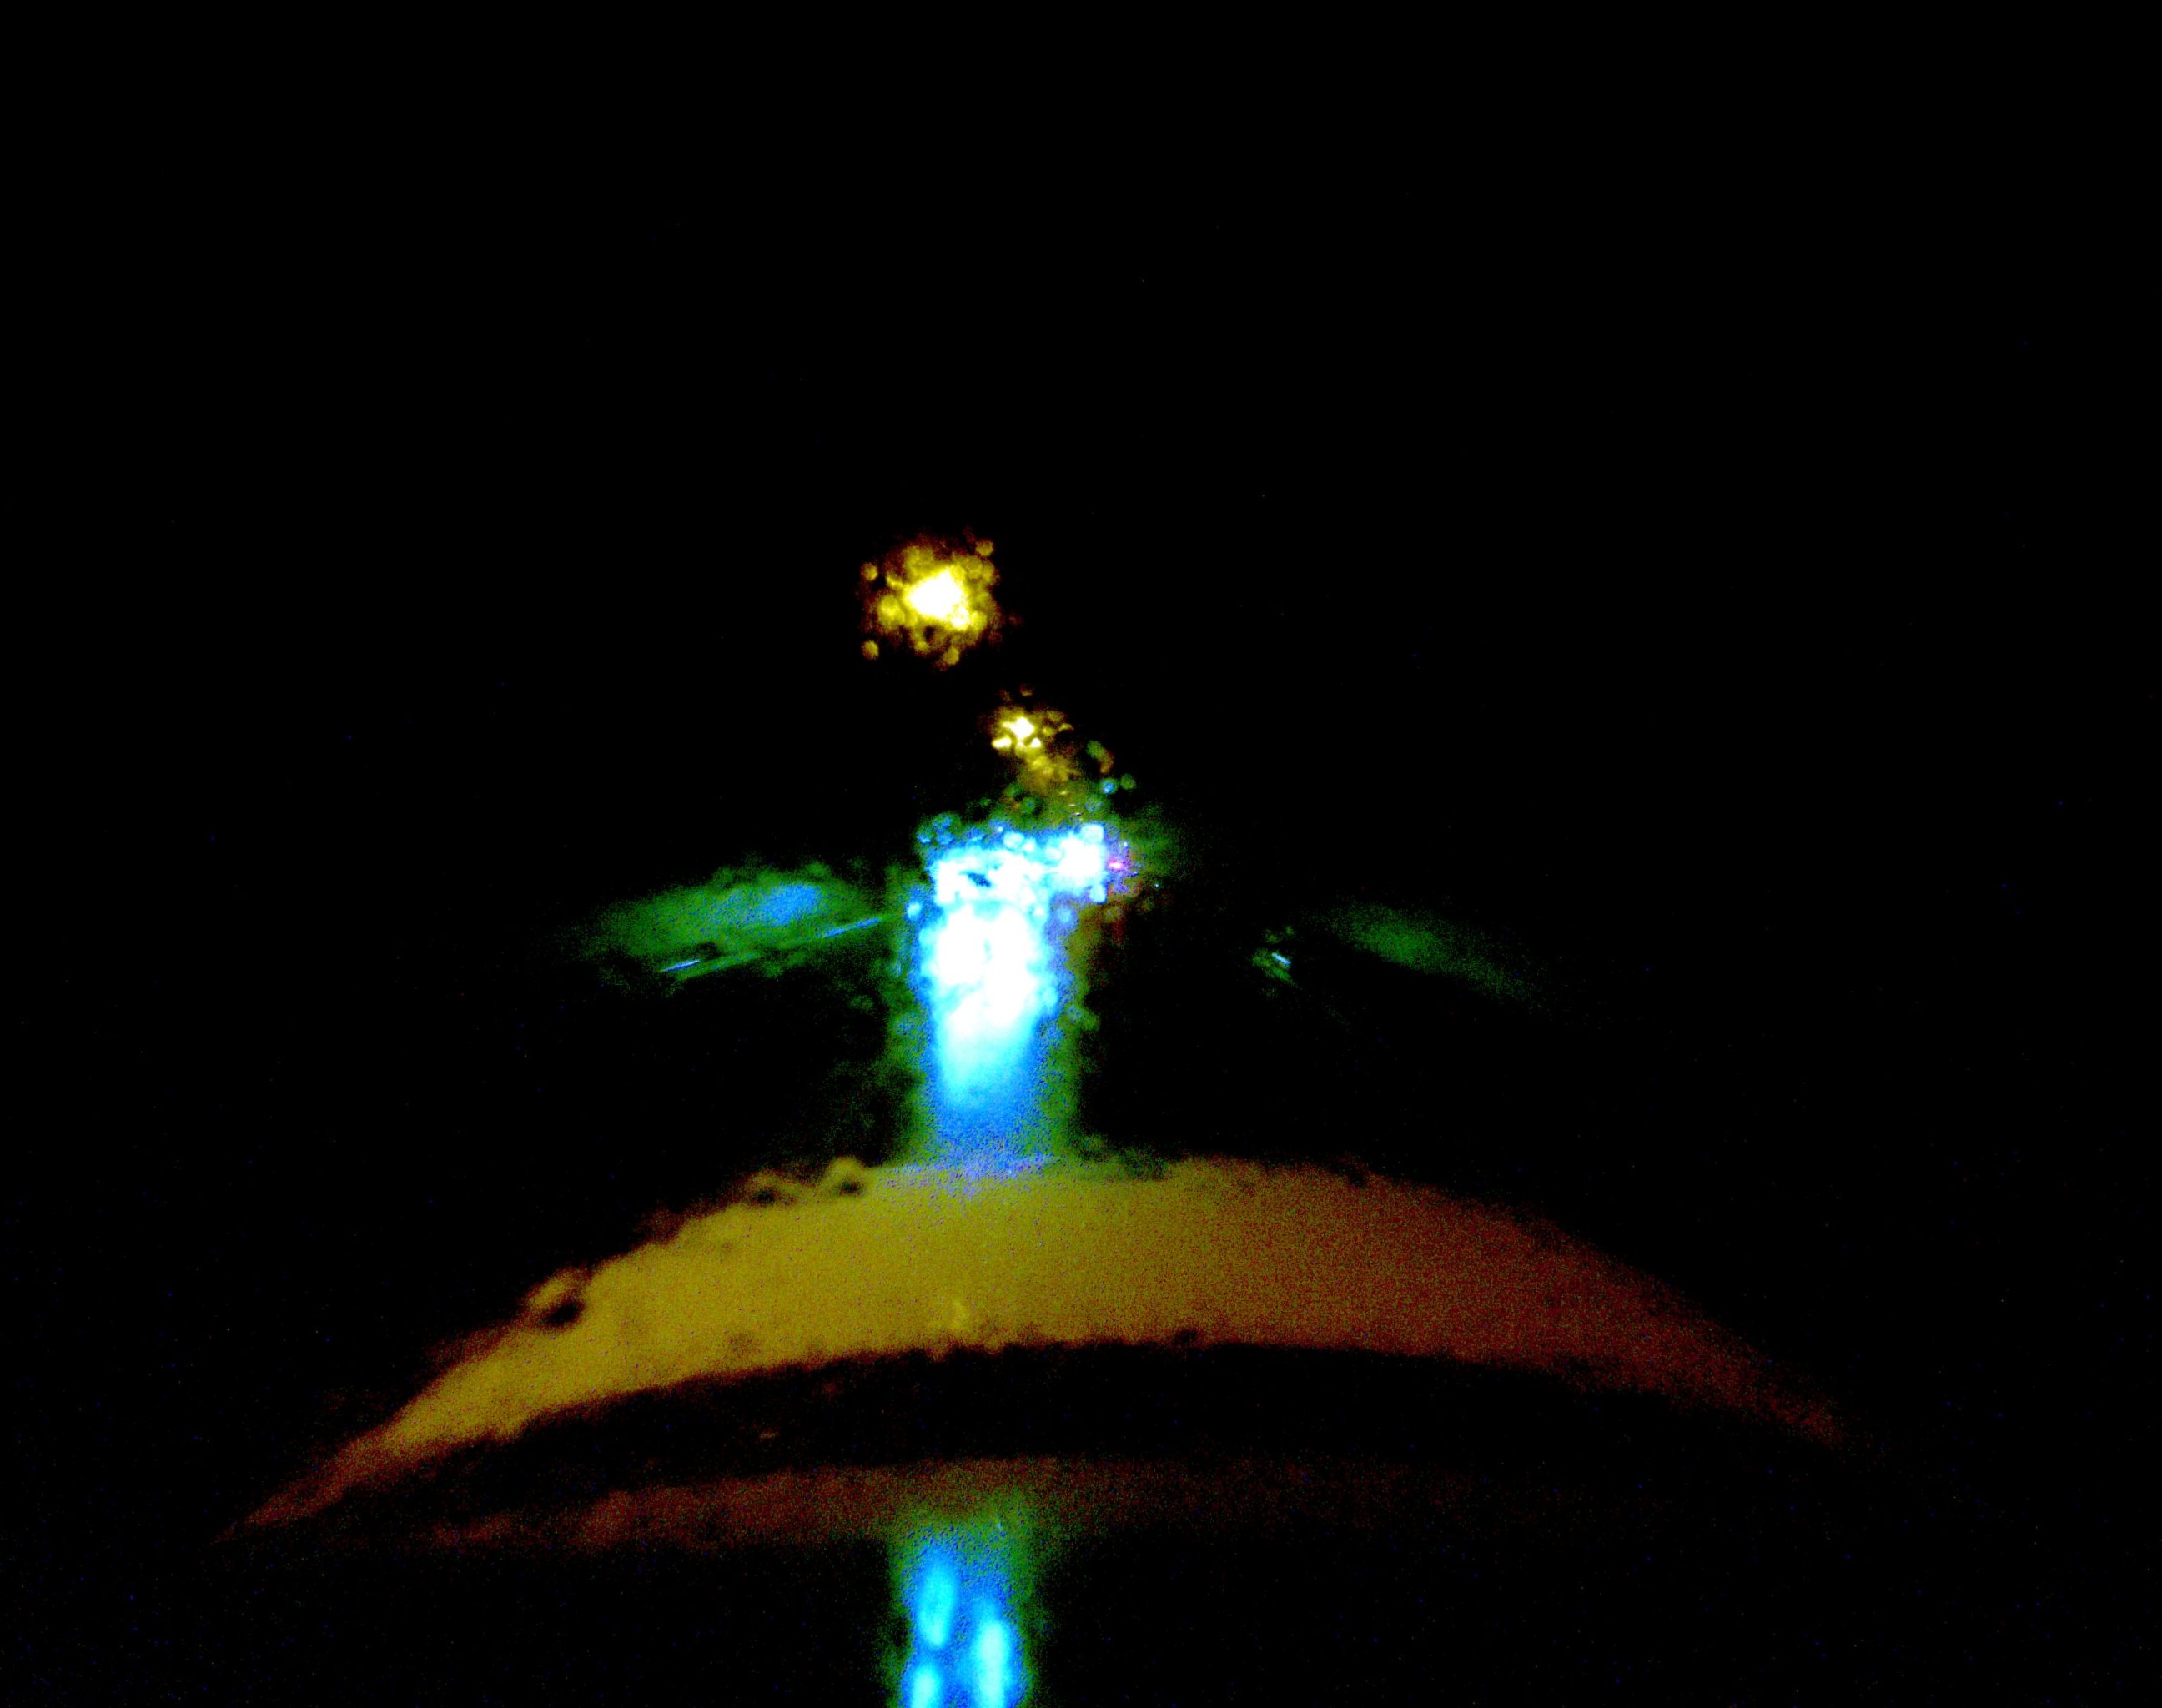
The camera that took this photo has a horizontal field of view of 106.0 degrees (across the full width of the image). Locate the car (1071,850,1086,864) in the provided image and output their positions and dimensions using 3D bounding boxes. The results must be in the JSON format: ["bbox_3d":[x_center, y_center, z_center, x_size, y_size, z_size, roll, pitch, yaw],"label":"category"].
[{"bbox_3d":[-0.376,0.400,115.649,1.986,2.013,4.001,0,0,1],"label":"car"}]

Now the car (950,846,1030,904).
[{"bbox_3d":[-2.847,0.619,26.422,1.986,1.709,4.282,0,0,1],"label":"car"}]

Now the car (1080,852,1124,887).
[{"bbox_3d":[1.040,0.743,40.527,2.082,1.662,4.001,0,0,1],"label":"car"}]
